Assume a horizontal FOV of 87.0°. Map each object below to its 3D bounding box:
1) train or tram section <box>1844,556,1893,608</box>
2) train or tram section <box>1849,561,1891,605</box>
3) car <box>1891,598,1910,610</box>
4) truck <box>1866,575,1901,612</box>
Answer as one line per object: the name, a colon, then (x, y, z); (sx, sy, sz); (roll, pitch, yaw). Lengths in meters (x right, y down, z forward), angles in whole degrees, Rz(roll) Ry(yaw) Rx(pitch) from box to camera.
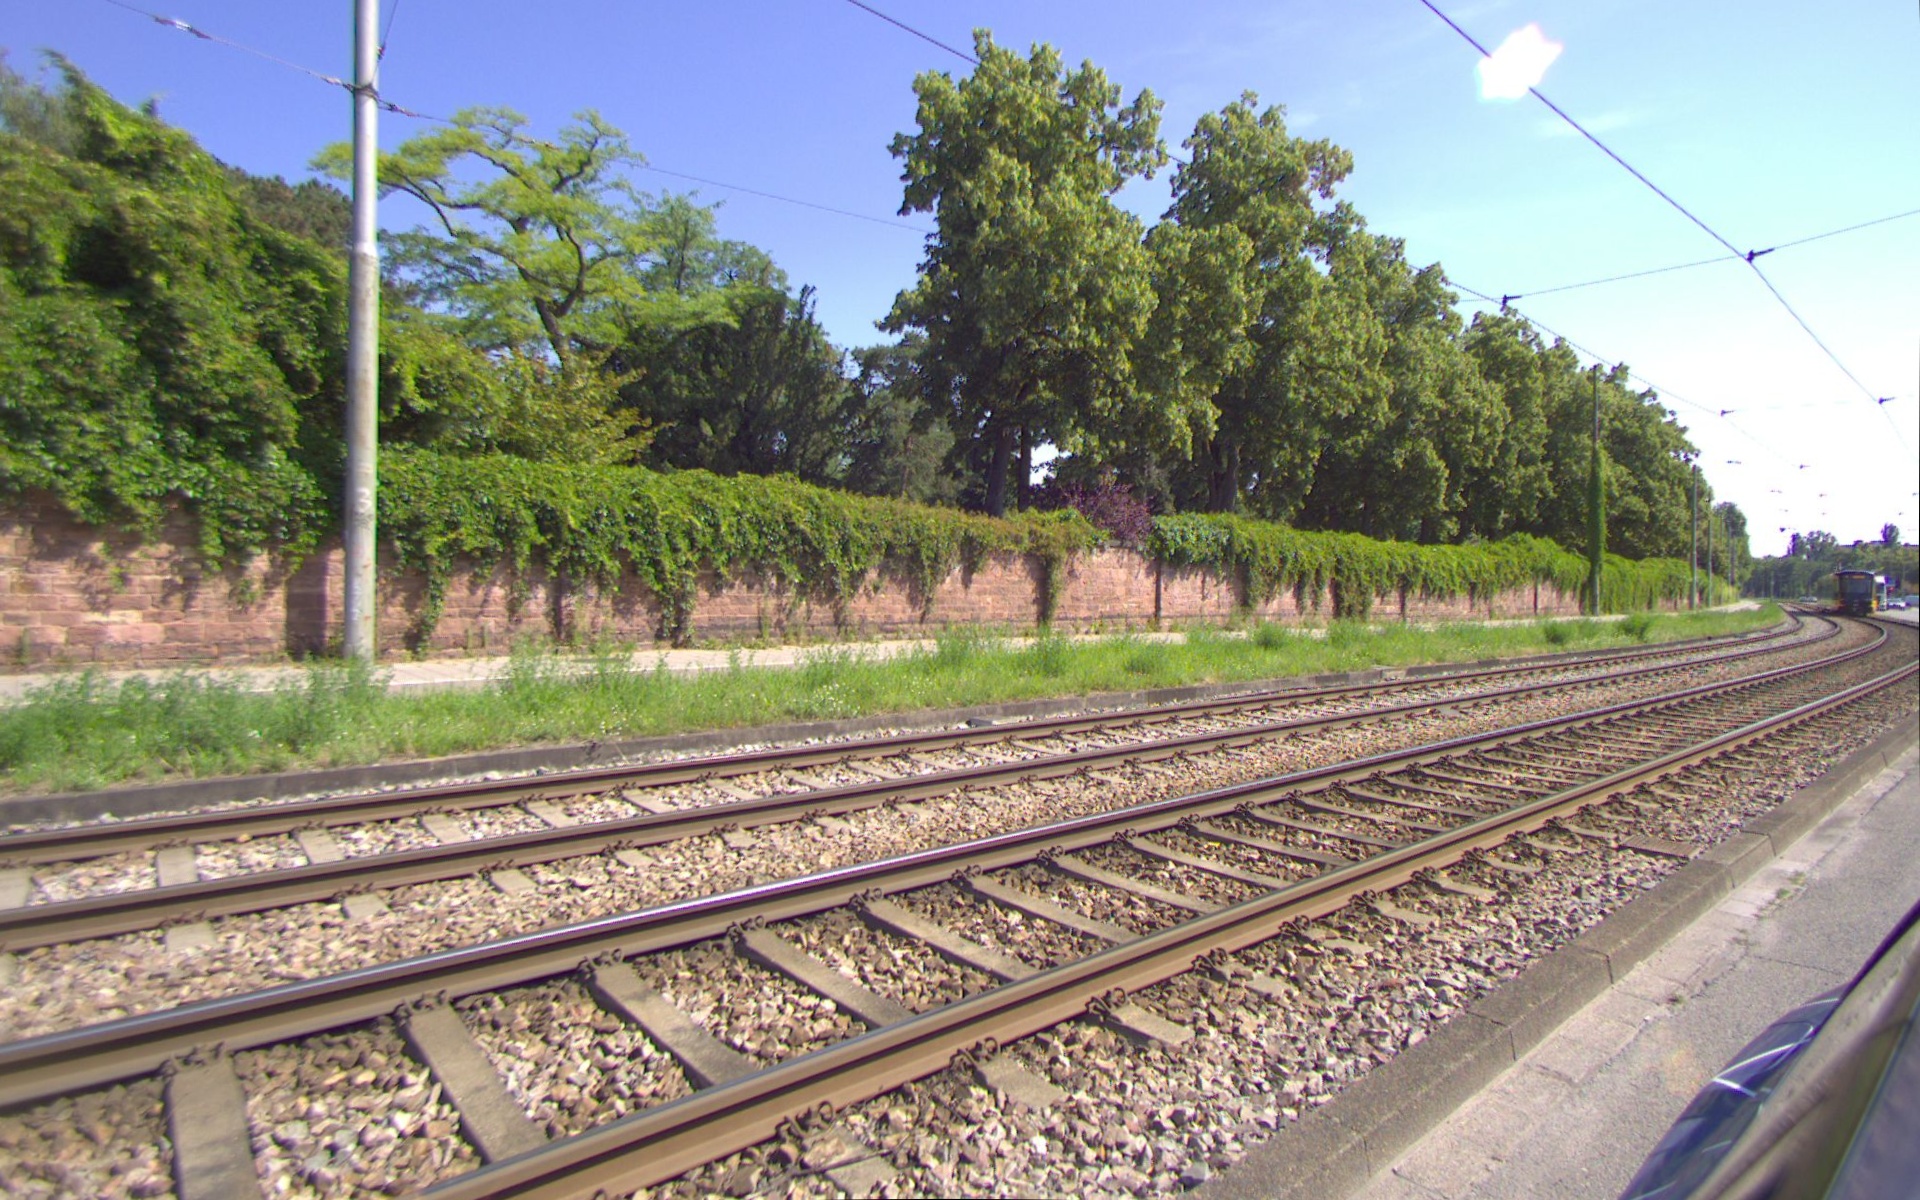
train or tram section: (73.009, -1.382, 81.260); (2.712, 3.785, 18.589); (0, 0, 42)
train or tram section: (85.539, -1.564, 95.048); (2.712, 3.785, 18.589); (0, 0, 42)
car: (116.892, 0.515, 125.768); (1.743, 1.448, 4.963); (0, 1, 43)
truck: (106.867, -0.788, 117.057); (2.798, 3.998, 11.757); (2, 2, 43)
